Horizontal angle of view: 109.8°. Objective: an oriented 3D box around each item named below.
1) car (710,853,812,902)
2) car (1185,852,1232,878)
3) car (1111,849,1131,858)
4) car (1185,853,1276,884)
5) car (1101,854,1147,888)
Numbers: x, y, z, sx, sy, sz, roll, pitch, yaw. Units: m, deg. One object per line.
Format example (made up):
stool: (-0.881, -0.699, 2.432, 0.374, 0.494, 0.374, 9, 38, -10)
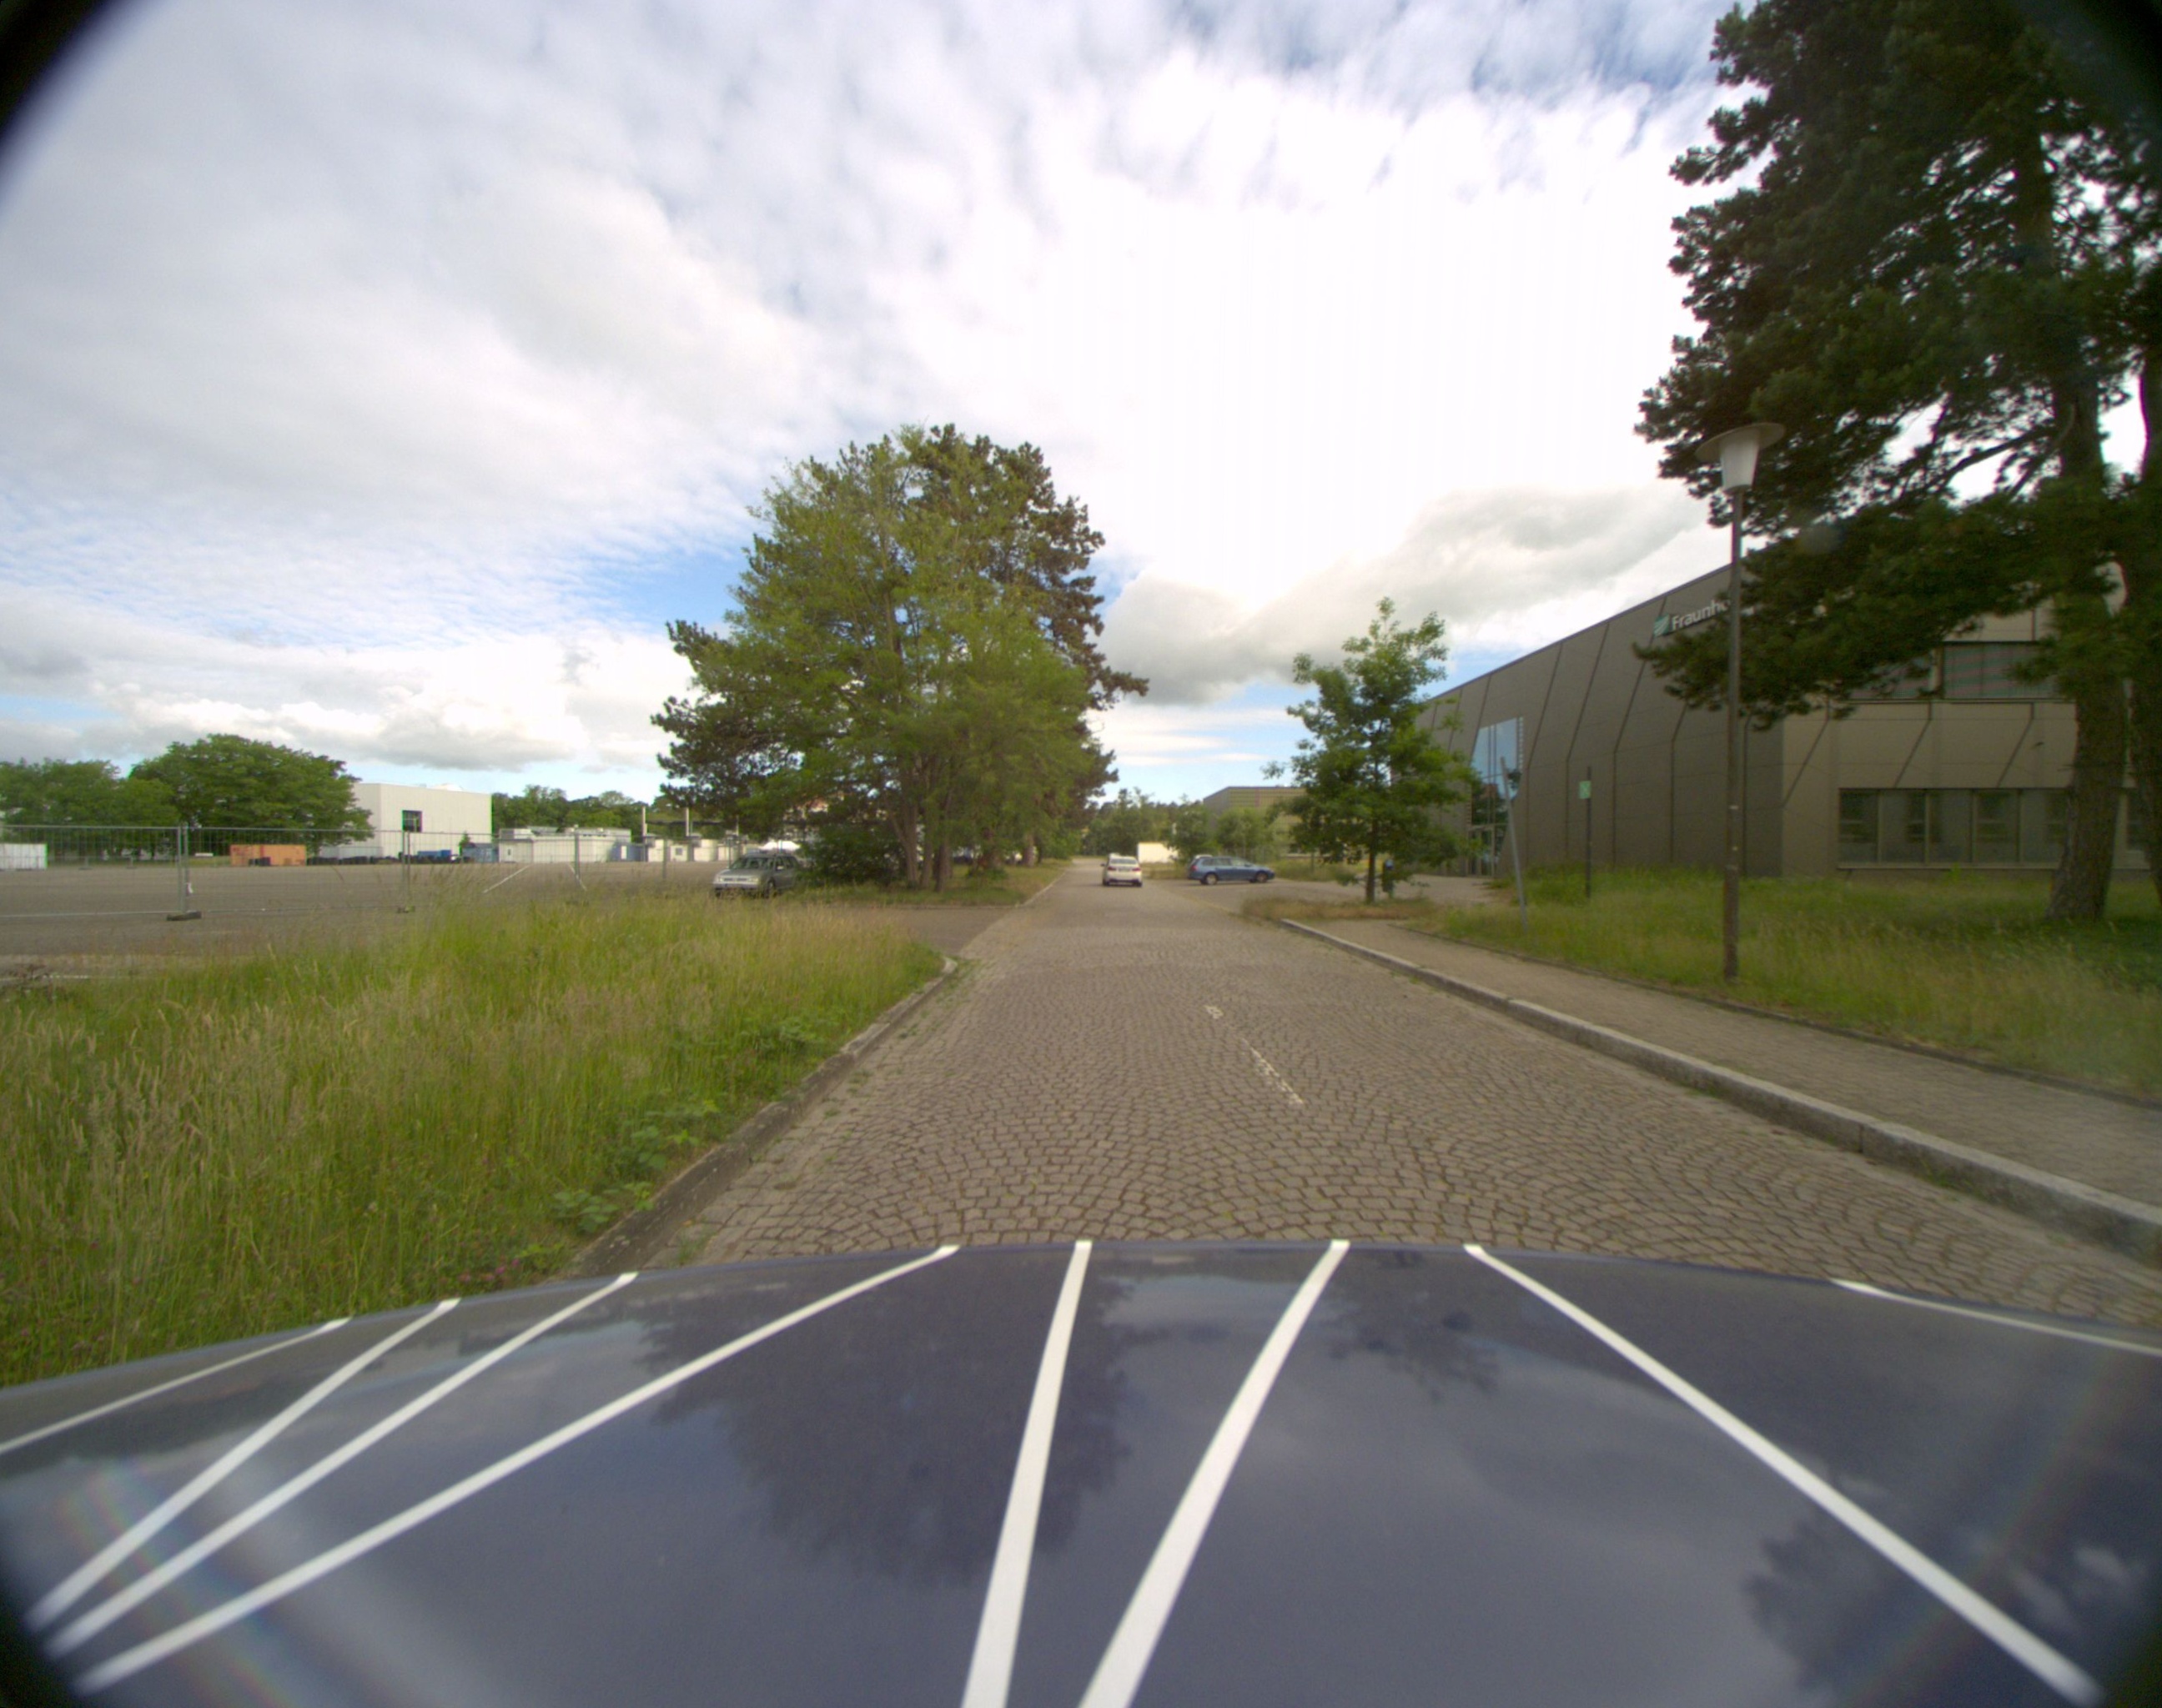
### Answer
car: (-10.750, 0.731, 25.861, 1.678, 1.442, 4.488, 0, 1, -2)
car: (7.949, 0.673, 47.514, 2.584, 1.521, 1.500, -2, 1, -1)
car: (8.393, -0.070, 159.942, 4.062, 1.768, 1.792, -1, 1, 0)
car: (7.860, 0.752, 40.145, 4.426, 1.461, 1.633, -2, 1, -2)
car: (2.037, 0.793, 37.319, 1.778, 1.430, 4.217, 3, 0, -2)
